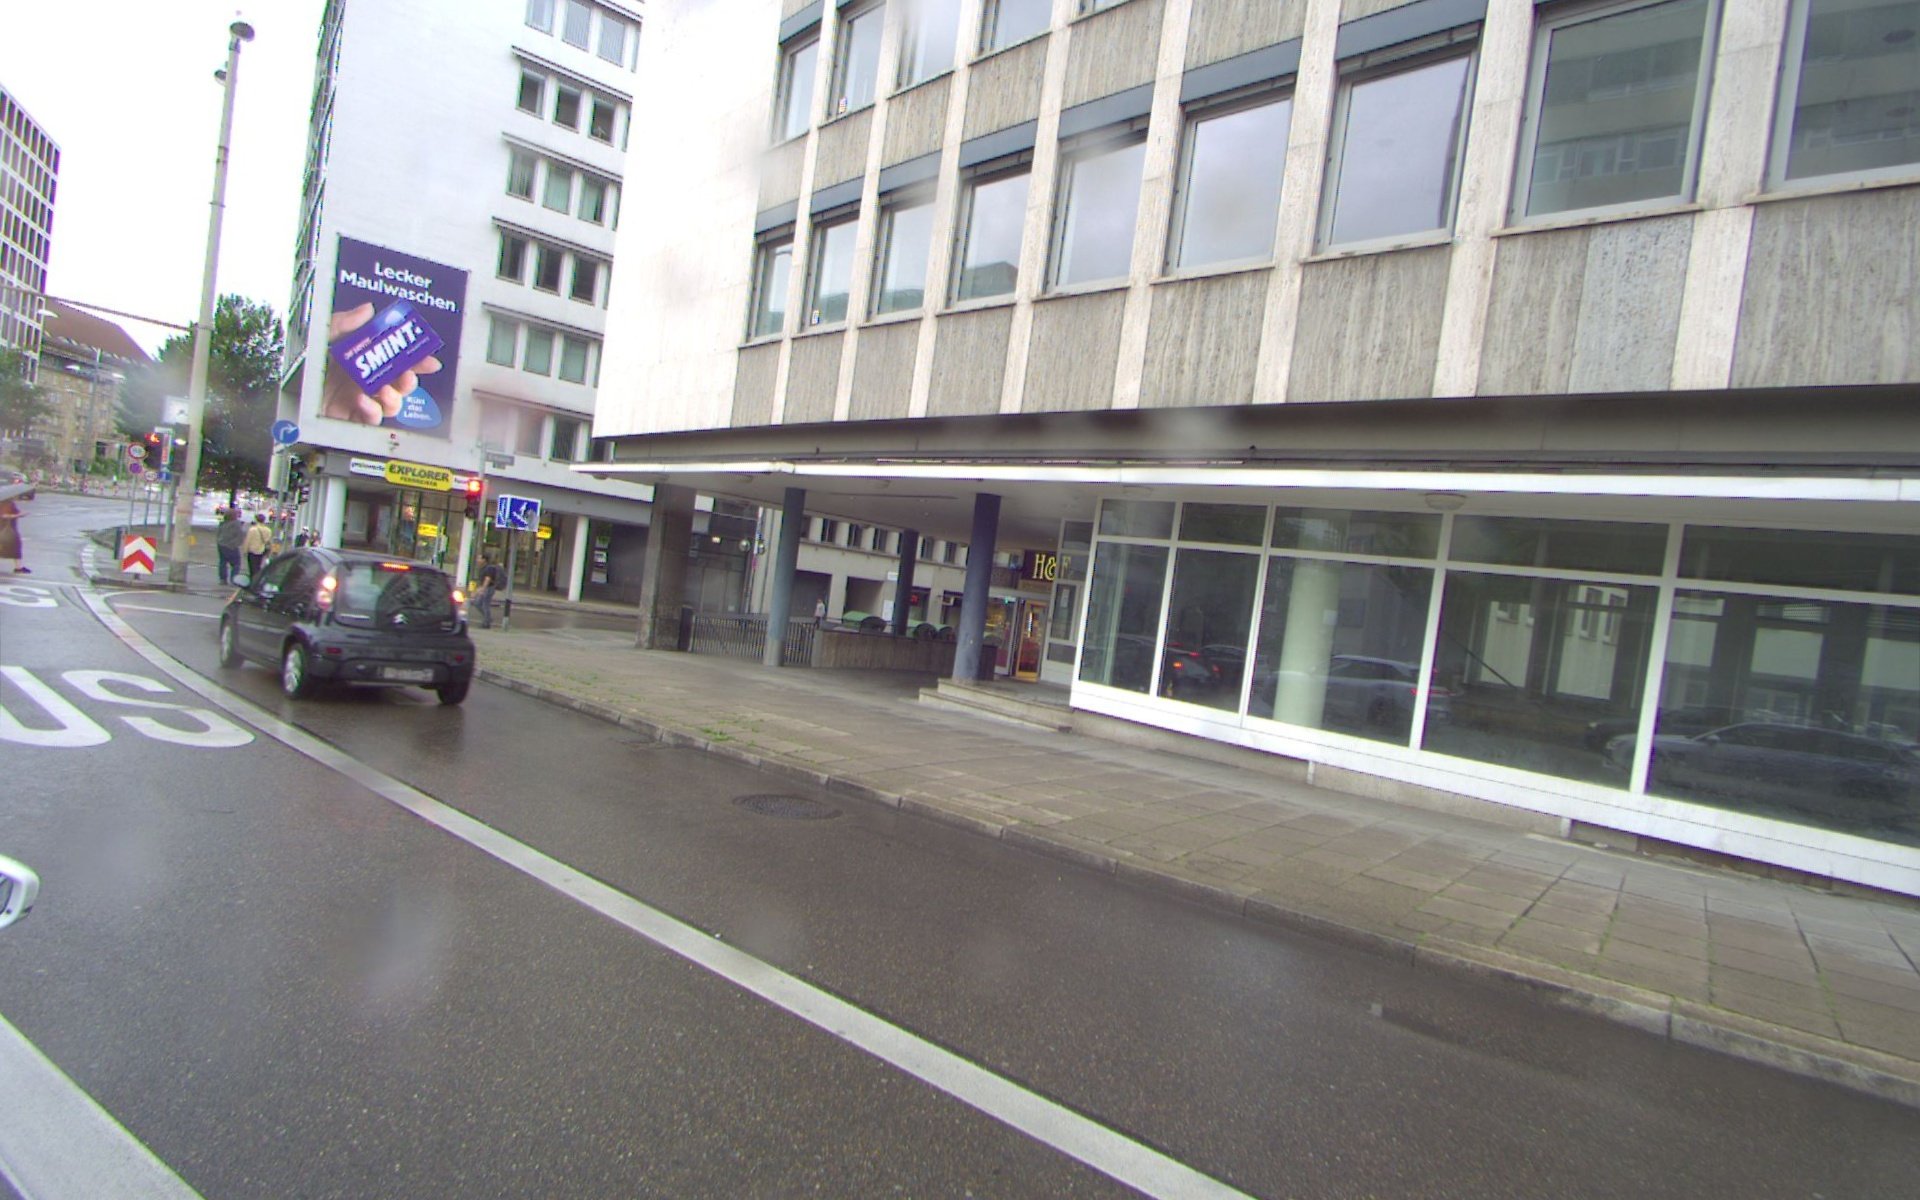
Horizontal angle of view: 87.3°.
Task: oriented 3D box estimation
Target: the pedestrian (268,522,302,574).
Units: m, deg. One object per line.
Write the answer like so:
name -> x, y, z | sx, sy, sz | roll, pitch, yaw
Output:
pedestrian -> -23.227, -1.801, 34.621 | 0.725, 1.688, 0.682 | 7, 0, -43

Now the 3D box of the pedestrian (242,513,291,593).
pedestrian -> -16.726, -1.128, 24.271 | 0.725, 1.820, 0.730 | 7, 1, -43

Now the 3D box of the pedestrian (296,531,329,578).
pedestrian -> -22.613, -1.590, 35.112 | 0.725, 1.542, 0.751 | 7, -1, -43

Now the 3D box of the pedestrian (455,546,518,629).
pedestrian -> -11.095, -0.287, 23.611 | 1.002, 1.776, 0.793 | 7, -1, -14

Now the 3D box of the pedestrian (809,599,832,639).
pedestrian -> -6.700, 0.903, 48.336 | 0.677, 1.820, 0.722 | 7, 0, -37

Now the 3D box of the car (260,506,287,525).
car -> -82.796, -10.140, 121.373 | 2.032, 1.786, 4.324 | 9, -2, -29

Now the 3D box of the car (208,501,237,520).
car -> -78.953, -9.597, 107.725 | 1.896, 1.527, 4.323 | 9, -2, -30

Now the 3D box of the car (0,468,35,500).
car -> -56.310, -6.920, 59.306 | 1.984, 1.570, 3.961 | 9, -2, -36

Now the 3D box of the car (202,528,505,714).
car -> -6.535, 0.177, 10.714 | 3.434, 1.490, 1.661 | 7, -1, 41

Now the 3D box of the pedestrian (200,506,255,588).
pedestrian -> -17.299, -1.247, 23.767 | 0.810, 1.820, 0.702 | 7, 0, -43

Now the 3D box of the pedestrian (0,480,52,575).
pedestrian -> -18.740, -1.454, 19.817 | 0.717, 1.759, 0.924 | 7, 0, 27
